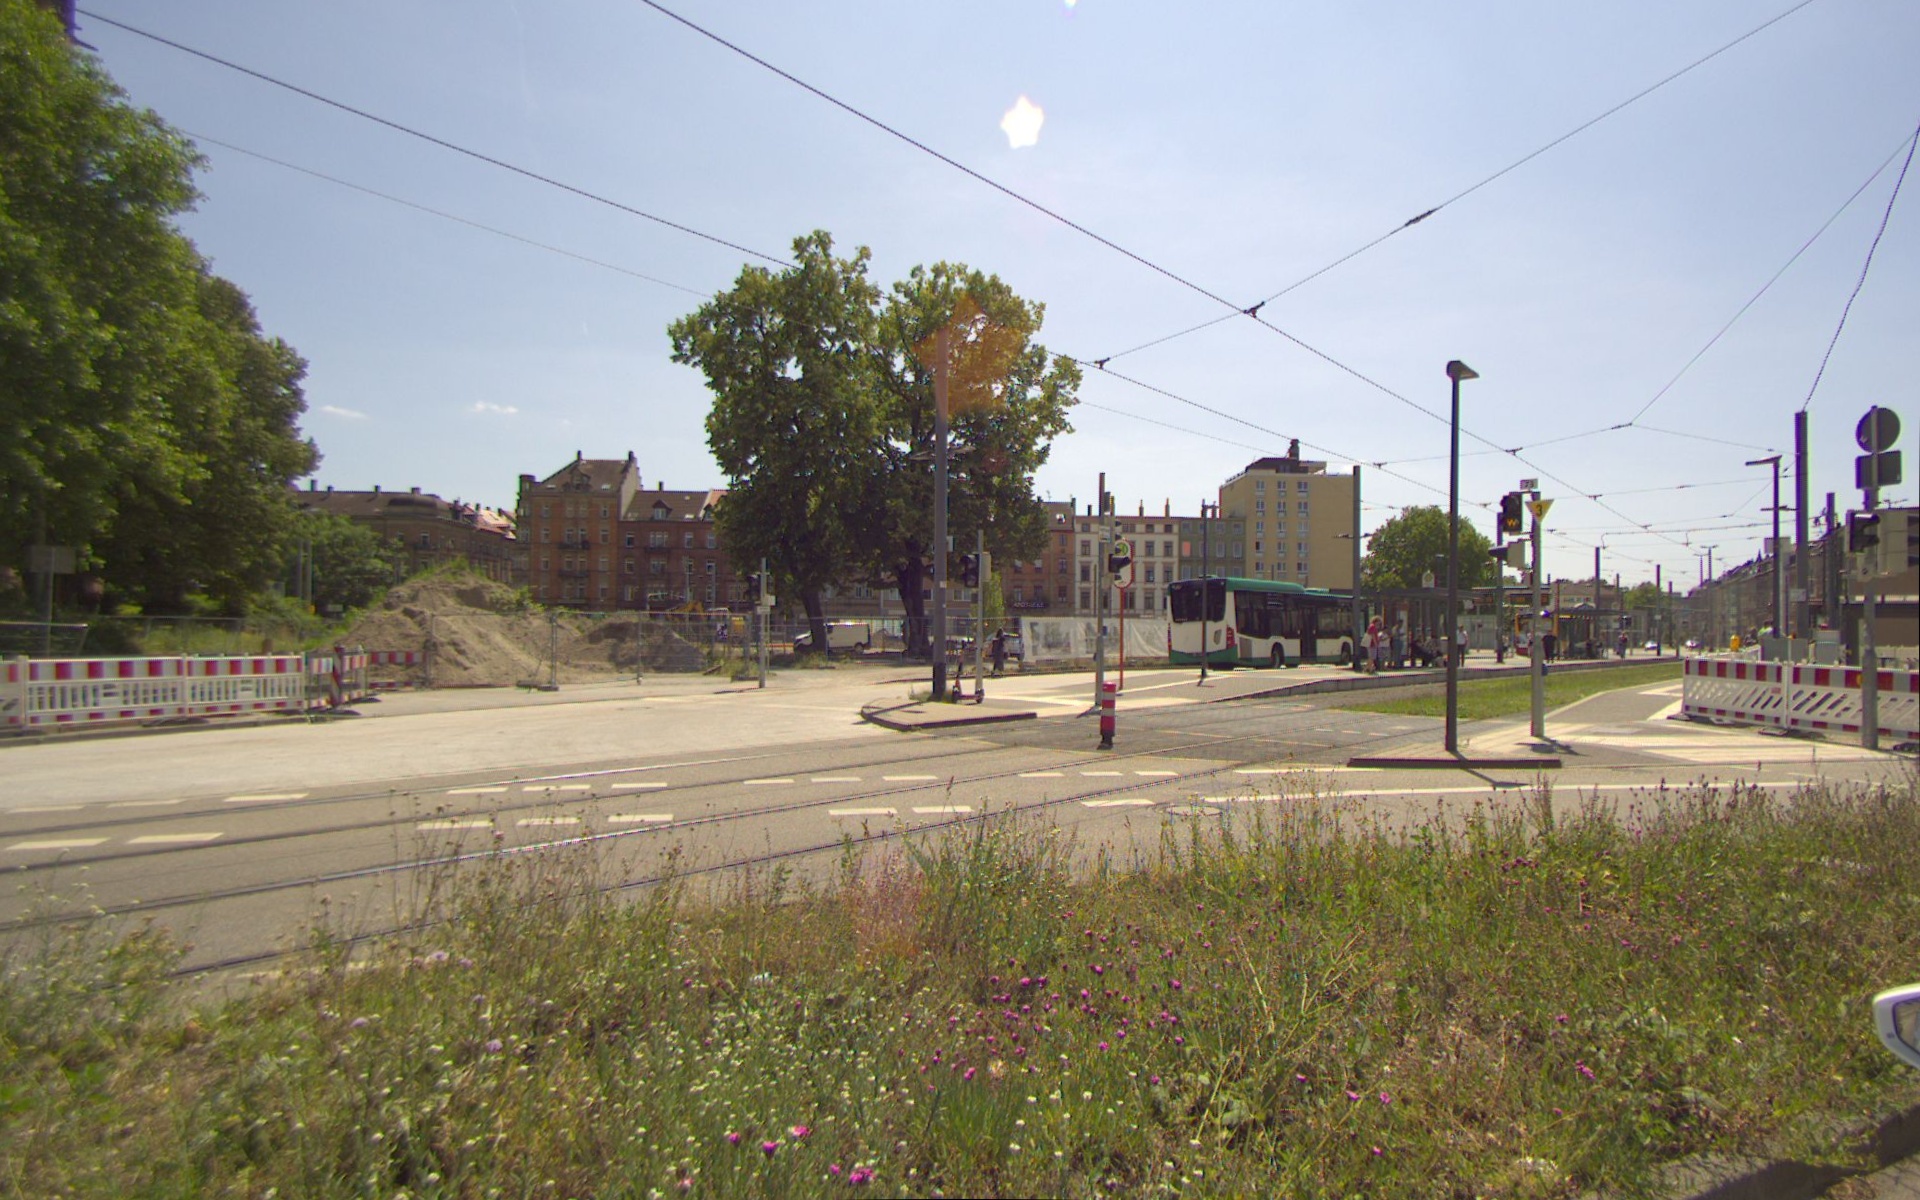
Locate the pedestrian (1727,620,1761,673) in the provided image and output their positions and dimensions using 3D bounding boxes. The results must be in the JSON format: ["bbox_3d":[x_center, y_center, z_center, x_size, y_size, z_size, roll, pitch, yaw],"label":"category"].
[{"bbox_3d":[26.281,1.560,33.680,0.714,1.729,0.744,1,-2,21],"label":"pedestrian"}]

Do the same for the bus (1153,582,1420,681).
[{"bbox_3d":[13.663,1.291,39.901,2.978,3.199,17.395,-1,-3,43],"label":"bus"}]

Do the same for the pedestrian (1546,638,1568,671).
[{"bbox_3d":[34.055,3.122,57.320,0.955,1.859,0.777,0,-2,19],"label":"pedestrian"}]

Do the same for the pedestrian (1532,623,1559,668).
[{"bbox_3d":[27.977,2.175,47.975,0.825,2.124,0.891,2,-2,-42],"label":"pedestrian"}]

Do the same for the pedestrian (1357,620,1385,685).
[{"bbox_3d":[12.433,1.576,30.401,0.663,1.934,0.639,-1,-2,34],"label":"pedestrian"}]

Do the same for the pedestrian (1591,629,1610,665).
[{"bbox_3d":[38.458,2.811,60.282,0.820,2.124,0.897,-1,-2,43],"label":"pedestrian"}]

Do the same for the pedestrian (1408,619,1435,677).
[{"bbox_3d":[17.211,1.777,37.461,0.812,2.124,0.640,-1,-2,32],"label":"pedestrian"}]

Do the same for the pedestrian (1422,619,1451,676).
[{"bbox_3d":[18.056,1.808,38.071,0.886,2.124,0.829,-1,-2,32],"label":"pedestrian"}]

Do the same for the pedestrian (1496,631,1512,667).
[{"bbox_3d":[32.547,2.901,60.111,0.693,2.139,0.657,0,-2,19],"label":"pedestrian"}]

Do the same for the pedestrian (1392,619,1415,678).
[{"bbox_3d":[16.309,1.782,36.944,0.689,2.124,0.643,-1,-2,32],"label":"pedestrian"}]

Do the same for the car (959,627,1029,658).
[{"bbox_3d":[1.836,2.339,56.176,1.833,1.671,4.157,2,-2,-34],"label":"car"}]

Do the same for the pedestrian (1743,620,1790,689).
[{"bbox_3d":[22.532,1.523,28.073,0.752,1.888,0.731,1,-2,3],"label":"pedestrian"}]

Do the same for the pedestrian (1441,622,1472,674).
[{"bbox_3d":[20.798,2.009,42.083,0.825,2.124,0.891,2,-2,-42],"label":"pedestrian"}]

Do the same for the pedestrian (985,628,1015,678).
[{"bbox_3d":[1.327,1.759,33.425,0.818,1.623,0.601,2,-2,-37],"label":"pedestrian"}]

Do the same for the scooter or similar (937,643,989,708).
[{"bbox_3d":[0.073,1.450,19.552,0.314,1.222,1.243,-1,-2,38],"label":"scooter or similar"}]

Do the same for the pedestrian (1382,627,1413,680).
[{"bbox_3d":[15.506,1.881,35.602,0.899,1.876,0.656,-1,-2,34],"label":"pedestrian"}]

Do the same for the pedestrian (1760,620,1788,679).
[{"bbox_3d":[27.527,1.664,33.969,0.710,1.948,1.070,0,-2,38],"label":"pedestrian"}]

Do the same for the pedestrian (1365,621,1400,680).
[{"bbox_3d":[14.526,1.723,34.533,0.929,2.016,1.026,-1,-2,34],"label":"pedestrian"}]

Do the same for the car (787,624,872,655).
[{"bbox_3d":[-8.304,2.499,64.143,4.973,1.909,2.104,1,-2,-27],"label":"car"}]

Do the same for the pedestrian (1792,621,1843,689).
[{"bbox_3d":[23.892,1.531,28.004,0.962,1.856,0.632,-1,-2,29],"label":"pedestrian"}]
